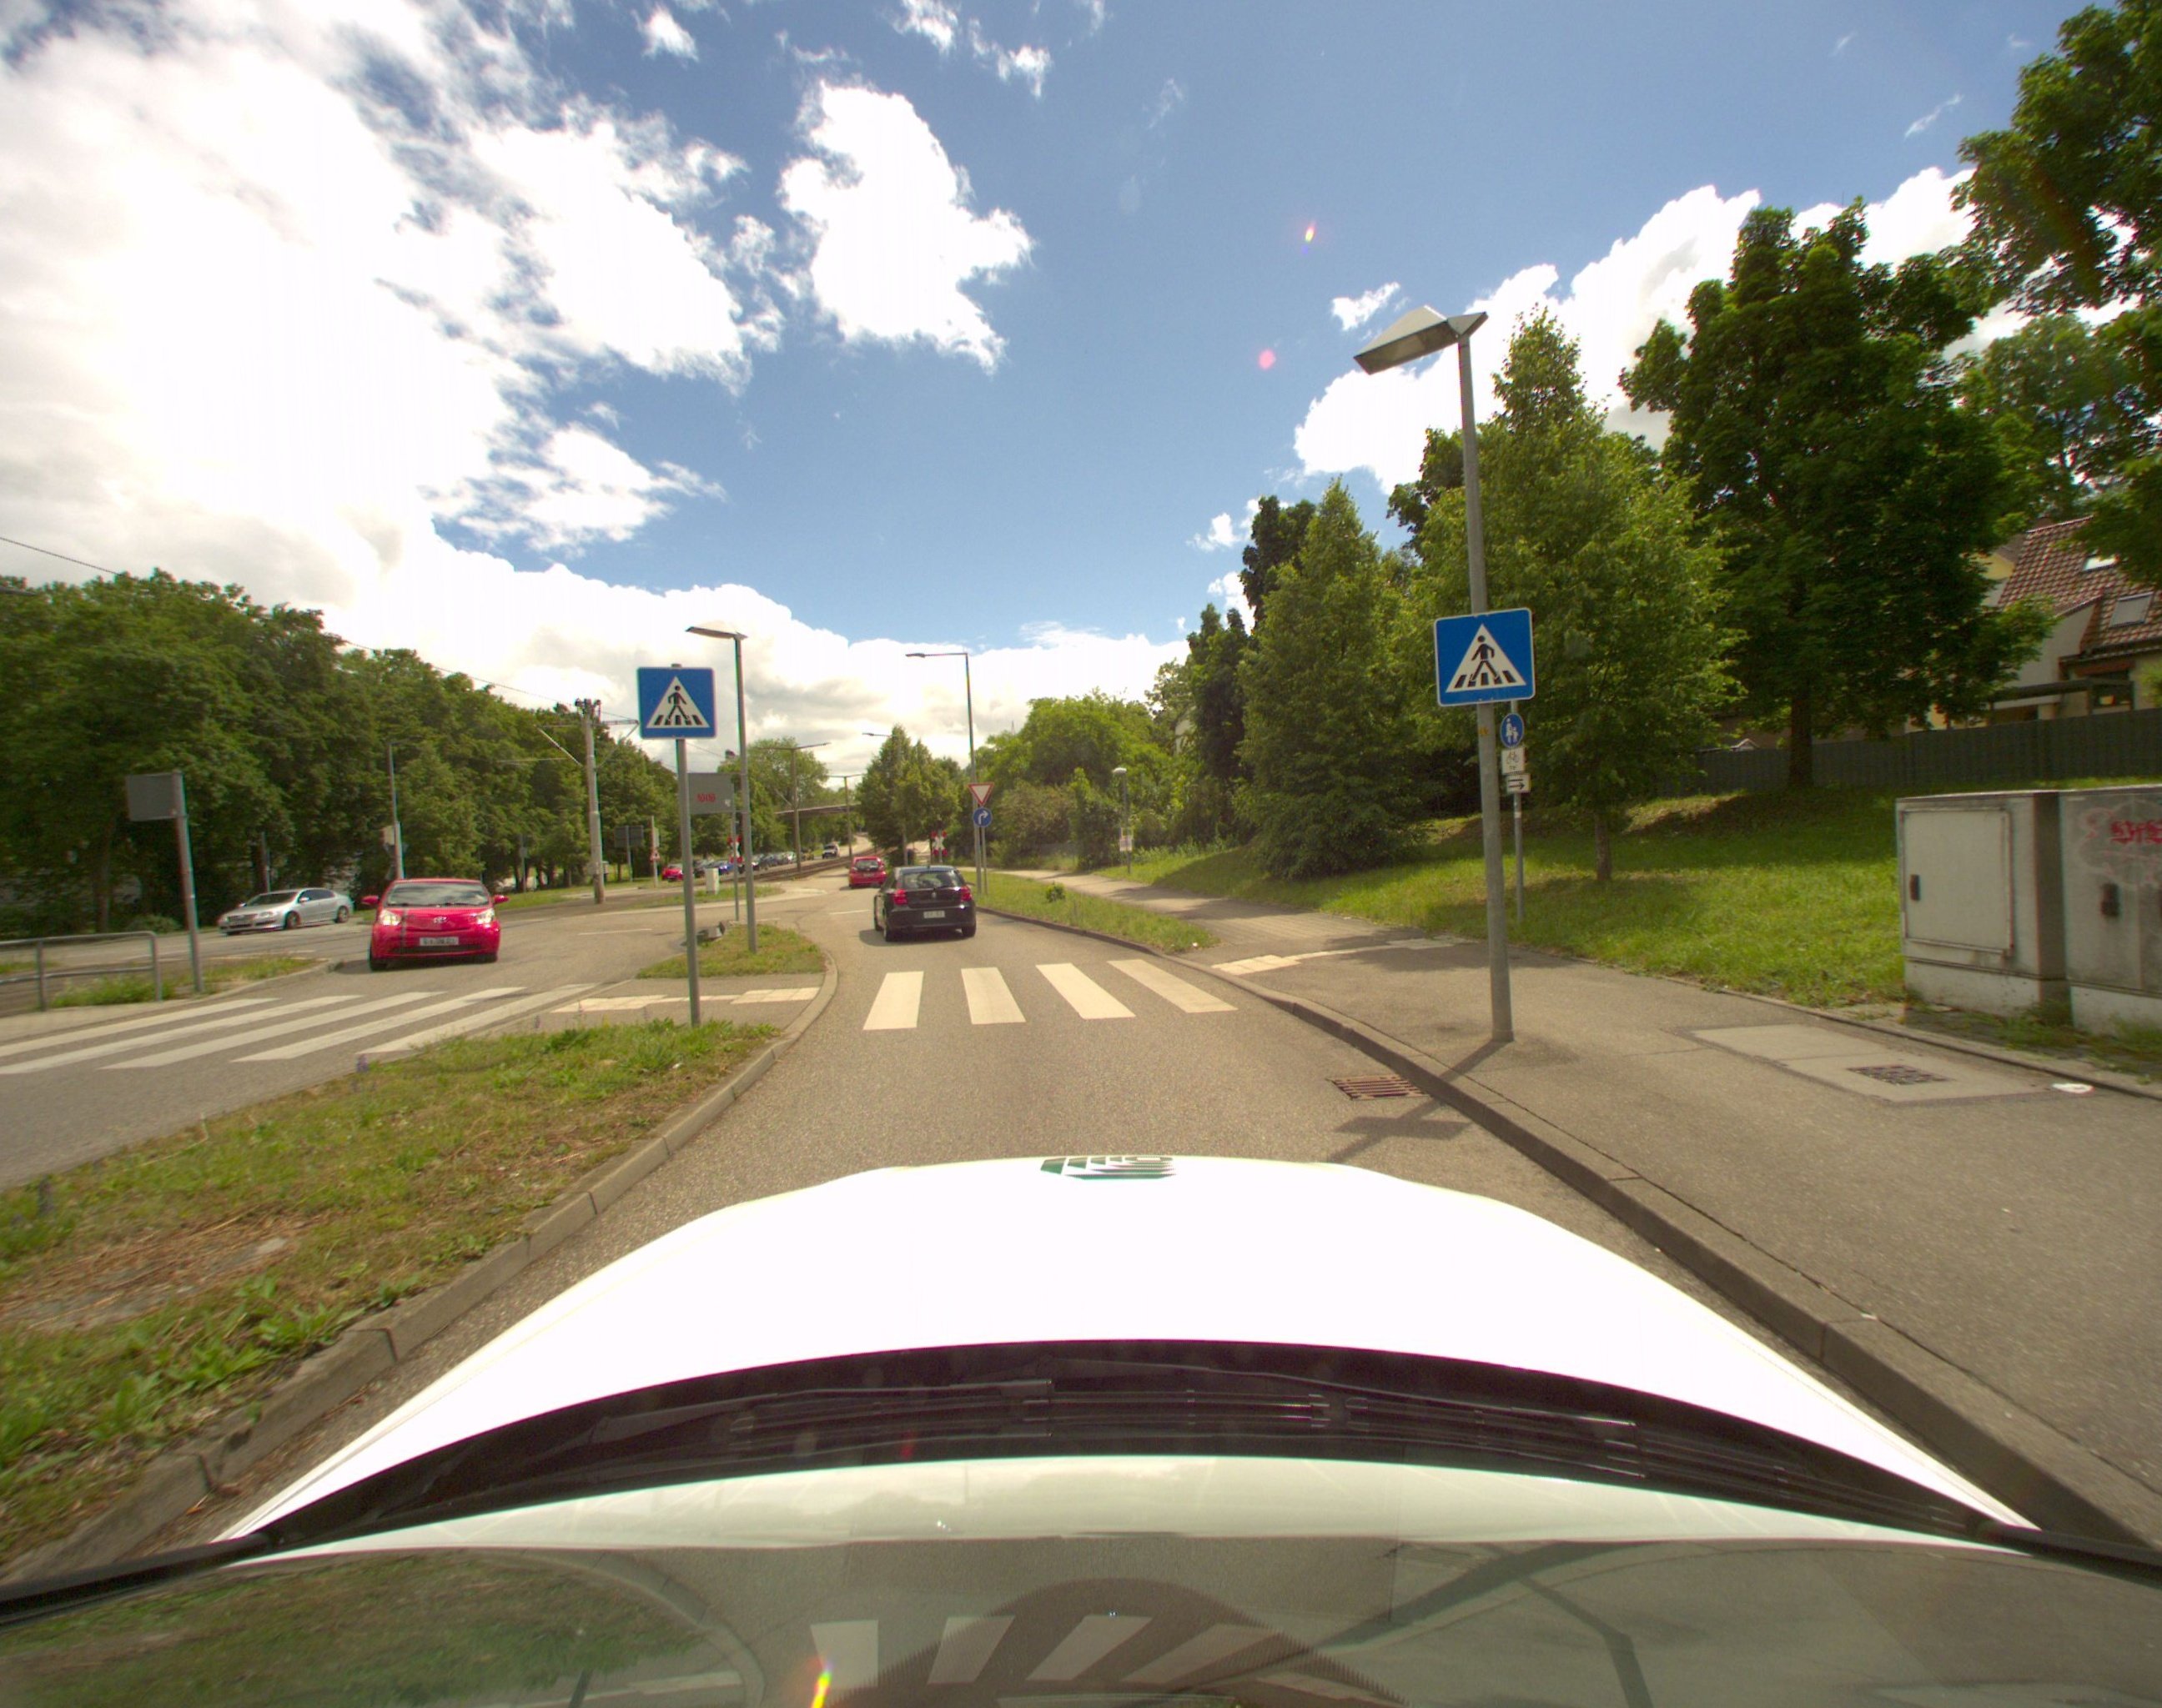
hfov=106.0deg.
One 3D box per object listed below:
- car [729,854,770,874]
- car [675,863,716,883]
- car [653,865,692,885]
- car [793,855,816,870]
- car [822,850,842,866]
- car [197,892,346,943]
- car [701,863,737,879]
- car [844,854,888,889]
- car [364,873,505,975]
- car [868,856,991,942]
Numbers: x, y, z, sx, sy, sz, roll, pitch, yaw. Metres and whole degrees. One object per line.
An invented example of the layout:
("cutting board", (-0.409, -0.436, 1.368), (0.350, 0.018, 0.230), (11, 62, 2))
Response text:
("car", (-29.945, 0.882, 73.716), (1.989, 1.597, 4.415), (-3, 0, -3))
("car", (-32.656, 1.600, 69.087), (1.875, 1.425, 3.528), (-3, 0, -2))
("car", (-31.790, 1.633, 63.517), (1.527, 1.370, 3.588), (-3, 0, -7))
("car", (-37.786, 1.145, 111.371), (1.990, 1.862, 3.994), (-3, 1, -5))
("car", (-34.748, 0.511, 113.752), (1.993, 2.013, 3.988), (-3, 1, -9))
("car", (-28.584, 2.189, 28.948), (1.878, 1.350, 3.815), (-4, 1, -12))
("car", (-33.061, 1.544, 74.427), (1.803, 1.254, 3.563), (-3, 1, -4))
("car", (-10.153, 0.835, 38.339), (1.771, 1.432, 3.457), (-4, 0, -18))
("car", (-11.539, 1.153, 14.481), (1.735, 1.503, 2.931), (-3, 1, -42))
("car", (-3.223, 0.871, 16.706), (1.821, 1.421, 3.973), (-4, -1, -19))
